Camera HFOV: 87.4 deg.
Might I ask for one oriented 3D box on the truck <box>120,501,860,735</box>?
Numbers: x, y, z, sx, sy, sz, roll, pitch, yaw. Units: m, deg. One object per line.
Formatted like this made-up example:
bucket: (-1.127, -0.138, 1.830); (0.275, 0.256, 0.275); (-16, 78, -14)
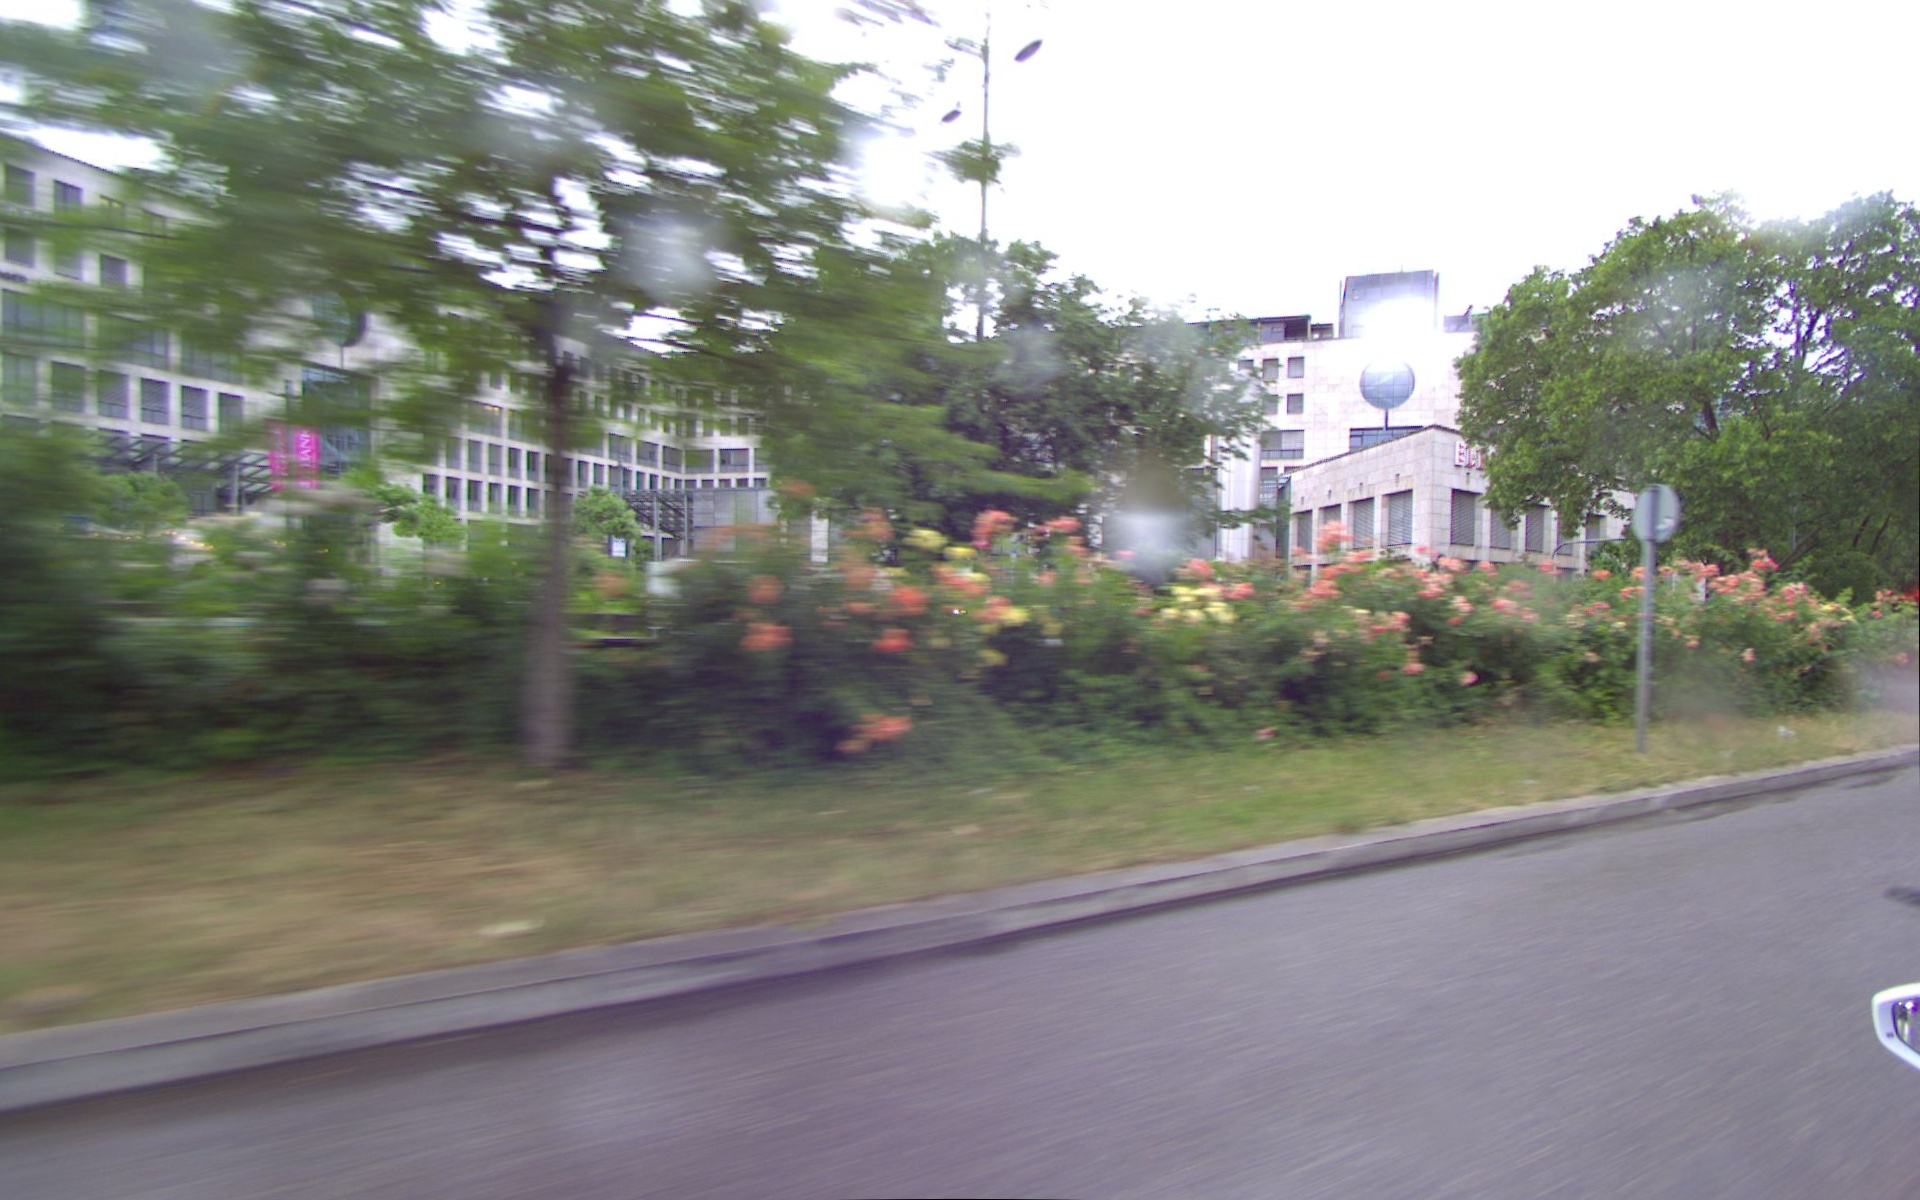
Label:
truck: (-5.928, 0.303, 14.153); (8.358, 2.544, 3.358); (2, 0, -24)
